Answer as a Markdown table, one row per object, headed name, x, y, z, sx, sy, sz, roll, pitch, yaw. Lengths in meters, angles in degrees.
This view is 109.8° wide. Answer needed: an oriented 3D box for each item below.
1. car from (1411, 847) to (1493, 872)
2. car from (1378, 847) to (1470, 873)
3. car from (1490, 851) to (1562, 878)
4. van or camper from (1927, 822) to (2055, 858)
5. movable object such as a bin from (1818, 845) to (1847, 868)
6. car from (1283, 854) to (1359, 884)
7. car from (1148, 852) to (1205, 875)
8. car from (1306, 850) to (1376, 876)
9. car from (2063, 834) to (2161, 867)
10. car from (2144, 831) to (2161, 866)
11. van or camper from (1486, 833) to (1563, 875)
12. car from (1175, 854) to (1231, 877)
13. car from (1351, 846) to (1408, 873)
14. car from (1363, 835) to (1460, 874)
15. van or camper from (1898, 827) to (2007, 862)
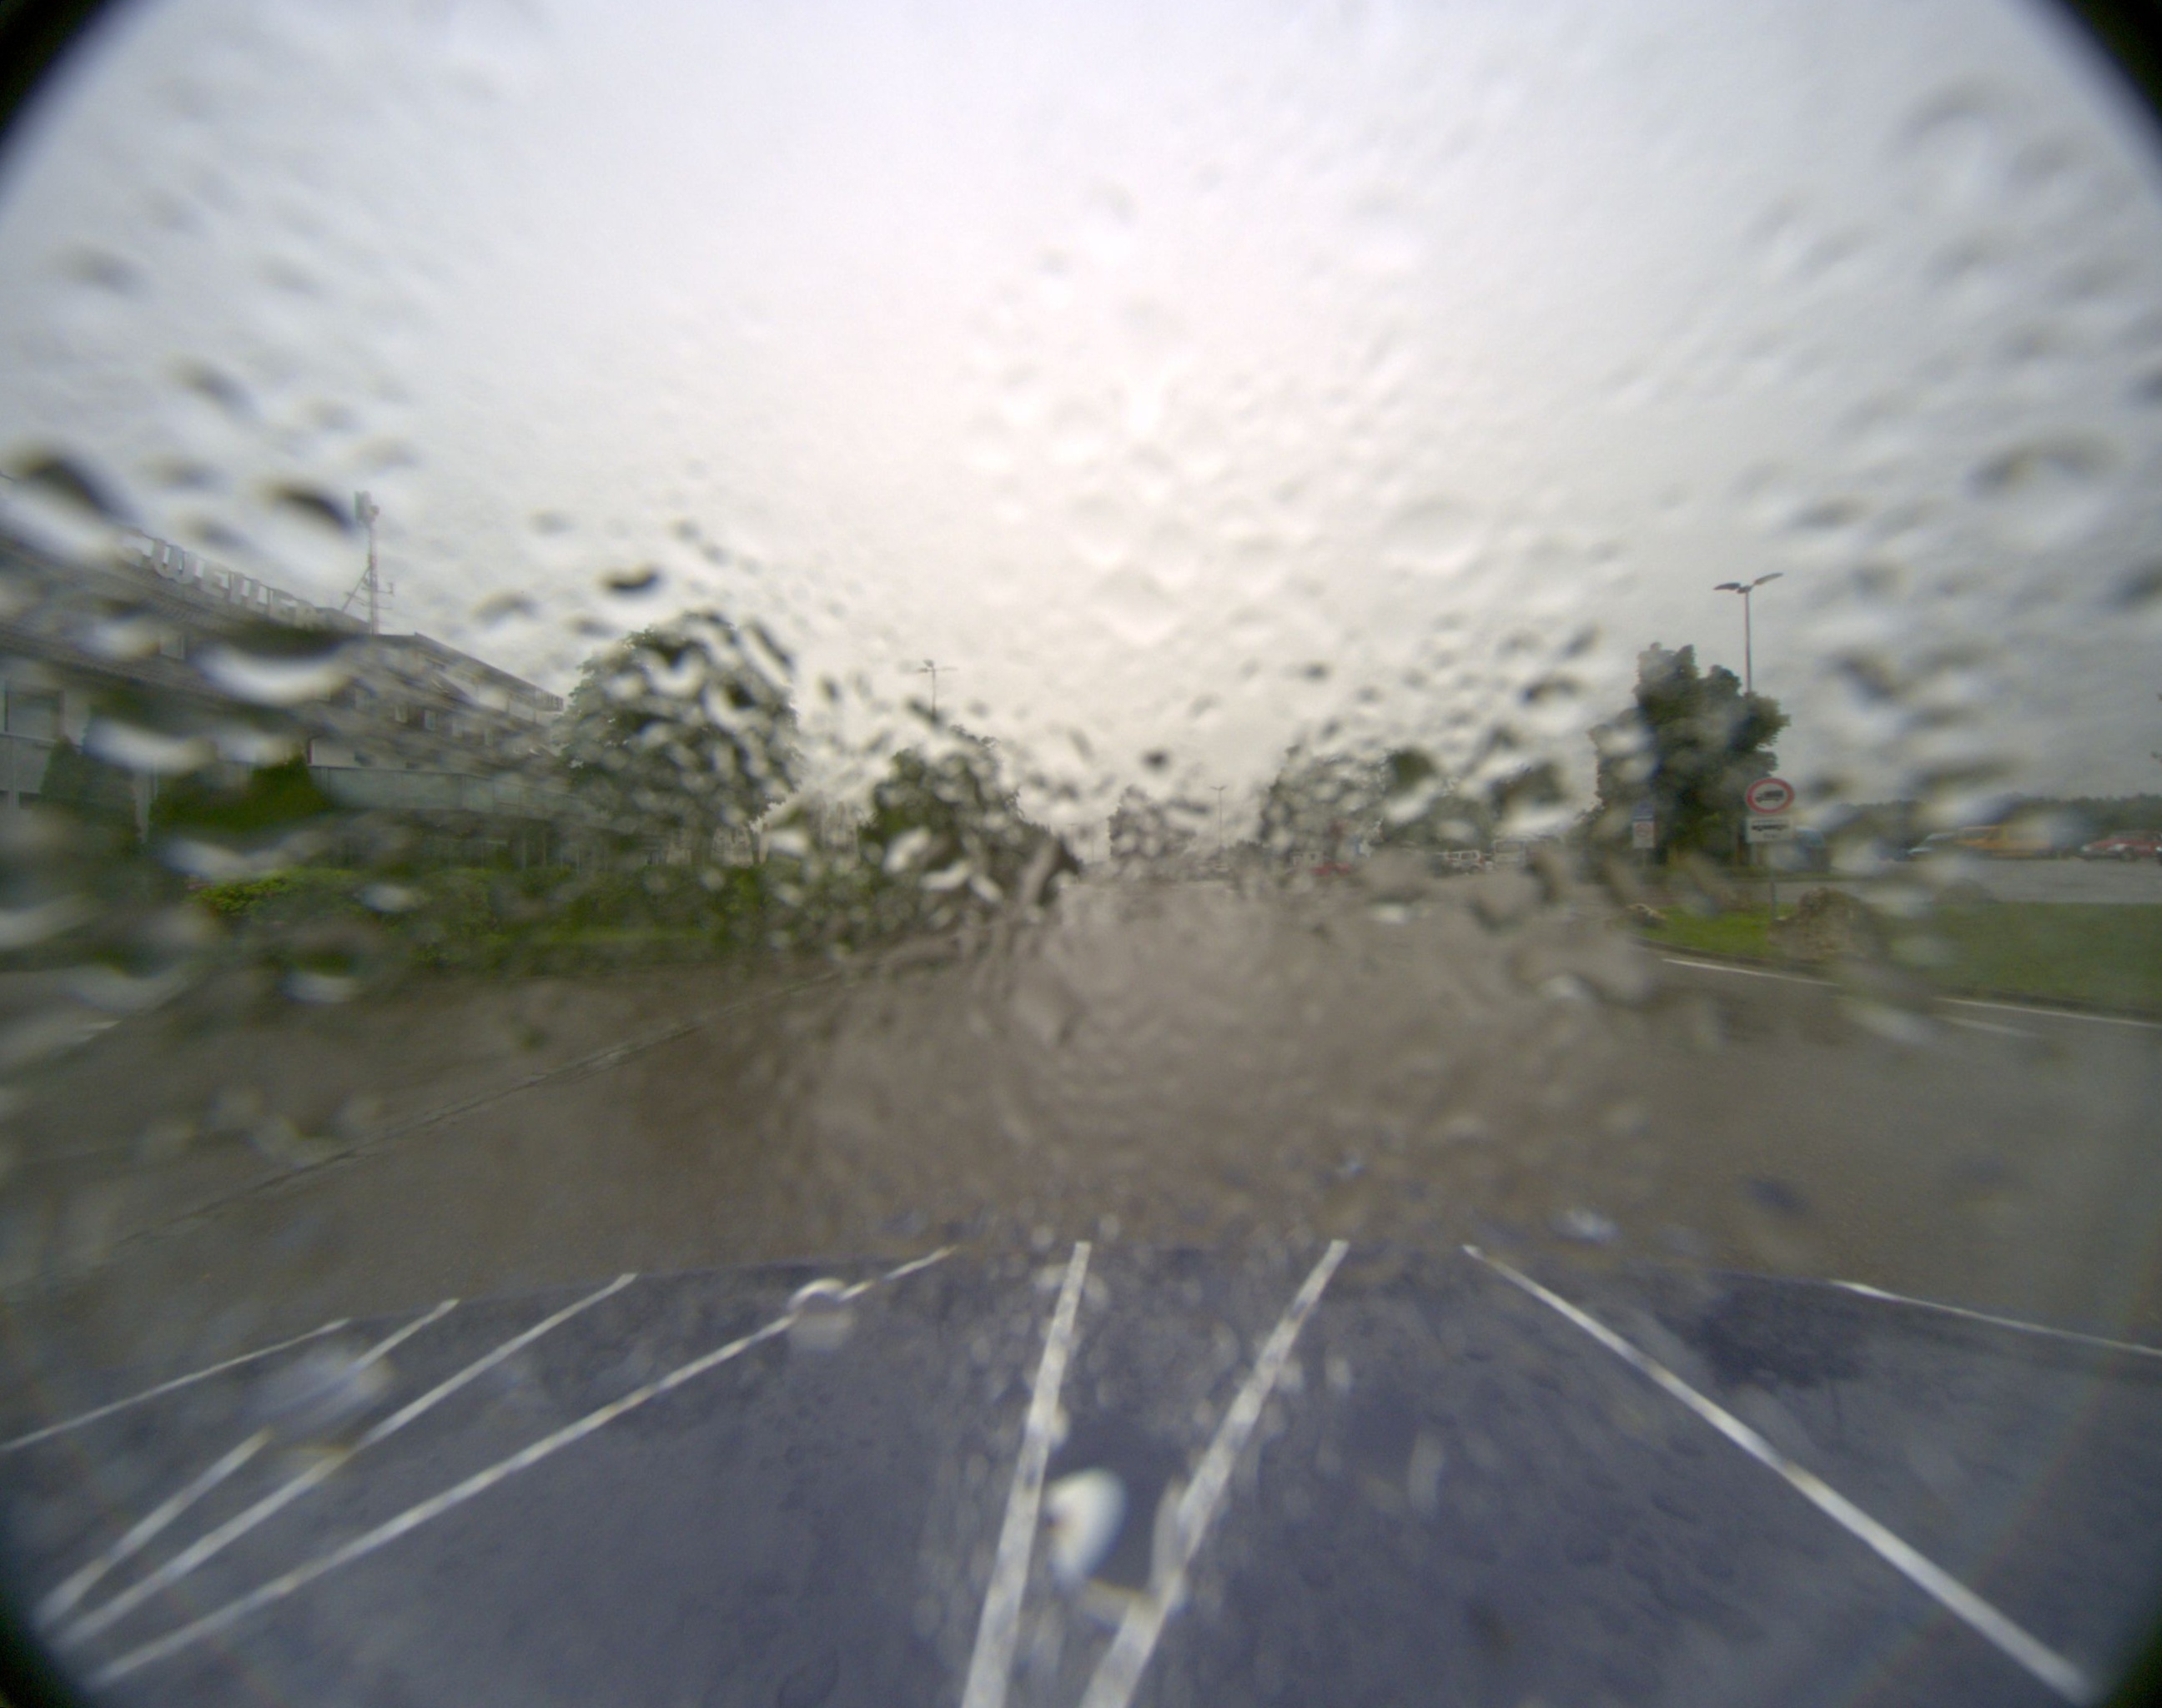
| name | x | y | z | sx | sy | sz | roll | pitch | yaw |
| --- | --- | --- | --- | --- | --- | --- | --- | --- | --- |
| car | 25.948 | 0.389 | 53.188 | 4.755 | 1.578 | 2.004 | -2 | 0 | 40 |
| car | 21.014 | 0.403 | 46.684 | 4.755 | 1.463 | 1.889 | -2 | 0 | 40 |
| car | 36.156 | 0.895 | 61.762 | 4.755 | 2.069 | 2.004 | -2 | 1 | 40 |
| van or camper | 59.622 | -0.913 | 49.853 | 6.416 | 2.233 | 2.133 | -1 | 1 | -5 |
| movable object such as a bin | 29.547 | 0.096 | 29.865 | 0.557 | 0.915 | 0.629 | -1 | 0 | -18 |
| car | 16.053 | 0.993 | 50.836 | 4.388 | 1.874 | 1.929 | -2 | 1 | 37 |
| car | 7.423 | 0.757 | 59.395 | 4.037 | 1.683 | 1.803 | -2 | 1 | 42 |
| car | 18.945 | 0.634 | 55.381 | 4.388 | 1.768 | 1.929 | -2 | 1 | 37 |
| car | 52.220 | -0.189 | 38.105 | 4.054 | 1.546 | 1.549 | -1 | 0 | -2 |
| car | 45.848 | -0.255 | 30.951 | 4.081 | 1.425 | 1.777 | -1 | 0 | -17 |
| van or camper | 24.160 | -0.062 | 41.293 | 5.206 | 1.934 | 2.188 | -5 | 3 | -43 |
| car | 9.840 | 0.922 | 61.181 | 4.038 | 1.683 | 1.716 | -2 | 1 | 28 |
| car | 23.317 | 0.411 | 59.378 | 3.775 | 2.002 | 1.790 | -2 | 0 | 36 |
| car | 19.284 | 0.045 | 44.433 | 4.755 | 2.176 | 2.004 | -2 | 1 | 40 |
| van or camper | 70.776 | -0.799 | 61.751 | 7.066 | 2.700 | 1.998 | -1 | 2 | -5 |
